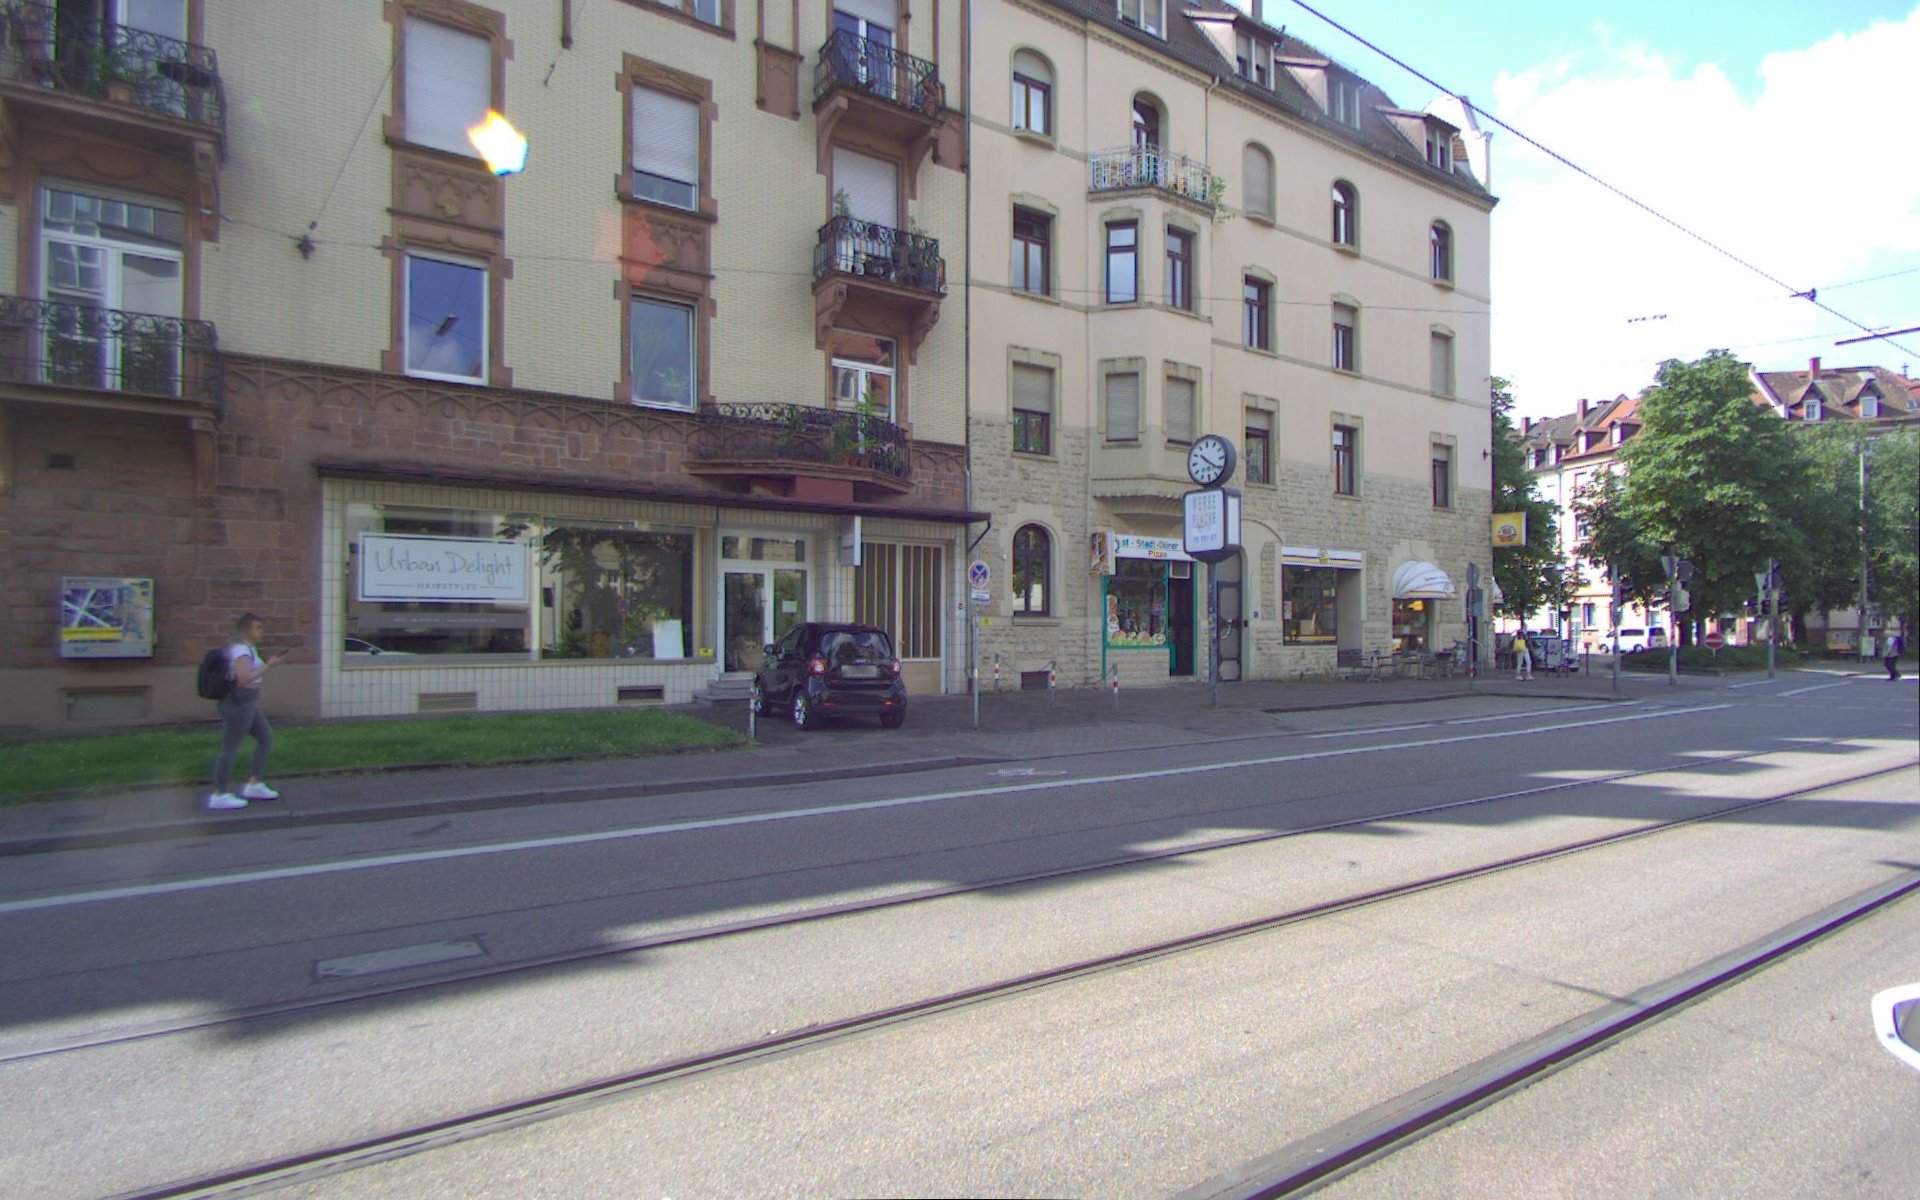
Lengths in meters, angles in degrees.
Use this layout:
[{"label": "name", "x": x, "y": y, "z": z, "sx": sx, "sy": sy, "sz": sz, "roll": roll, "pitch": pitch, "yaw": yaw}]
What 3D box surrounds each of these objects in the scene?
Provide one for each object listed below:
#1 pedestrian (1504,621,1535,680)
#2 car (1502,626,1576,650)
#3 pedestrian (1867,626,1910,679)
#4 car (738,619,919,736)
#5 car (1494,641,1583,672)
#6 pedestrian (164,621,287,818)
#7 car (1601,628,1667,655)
[{"label": "pedestrian", "x": 17.082, "y": 1.520, "z": 30.658, "sx": 0.675, "sy": 1.777, "sz": 0.797, "roll": -1, "pitch": -2, "yaw": 41}, {"label": "car", "x": 39.560, "y": 2.573, "z": 68.740, "sx": 1.976, "sy": 1.617, "sz": 3.970, "roll": 1, "pitch": -2, "yaw": -29}, {"label": "pedestrian", "x": 31.017, "y": 1.748, "z": 33.572, "sx": 0.704, "sy": 1.728, "sz": 0.824, "roll": 0, "pitch": -1, "yaw": 9}, {"label": "car", "x": -2.150, "y": 1.116, "z": 15.786, "sx": 1.716, "sy": 1.505, "sz": 3.162, "roll": 1, "pitch": 1, "yaw": -30}, {"label": "car", "x": 24.193, "y": 2.325, "z": 42.148, "sx": 1.645, "sy": 1.198, "sz": 4.002, "roll": 0, "pitch": -2, "yaw": 4}, {"label": "pedestrian", "x": -6.166, "y": 0.961, "z": 8.478, "sx": 0.756, "sy": 1.561, "sz": 0.752, "roll": 1, "pitch": -2, "yaw": -32}, {"label": "car", "x": 50.042, "y": 3.045, "z": 74.673, "sx": 1.962, "sy": 1.929, "sz": 3.997, "roll": 0, "pitch": -2, "yaw": -5}]
